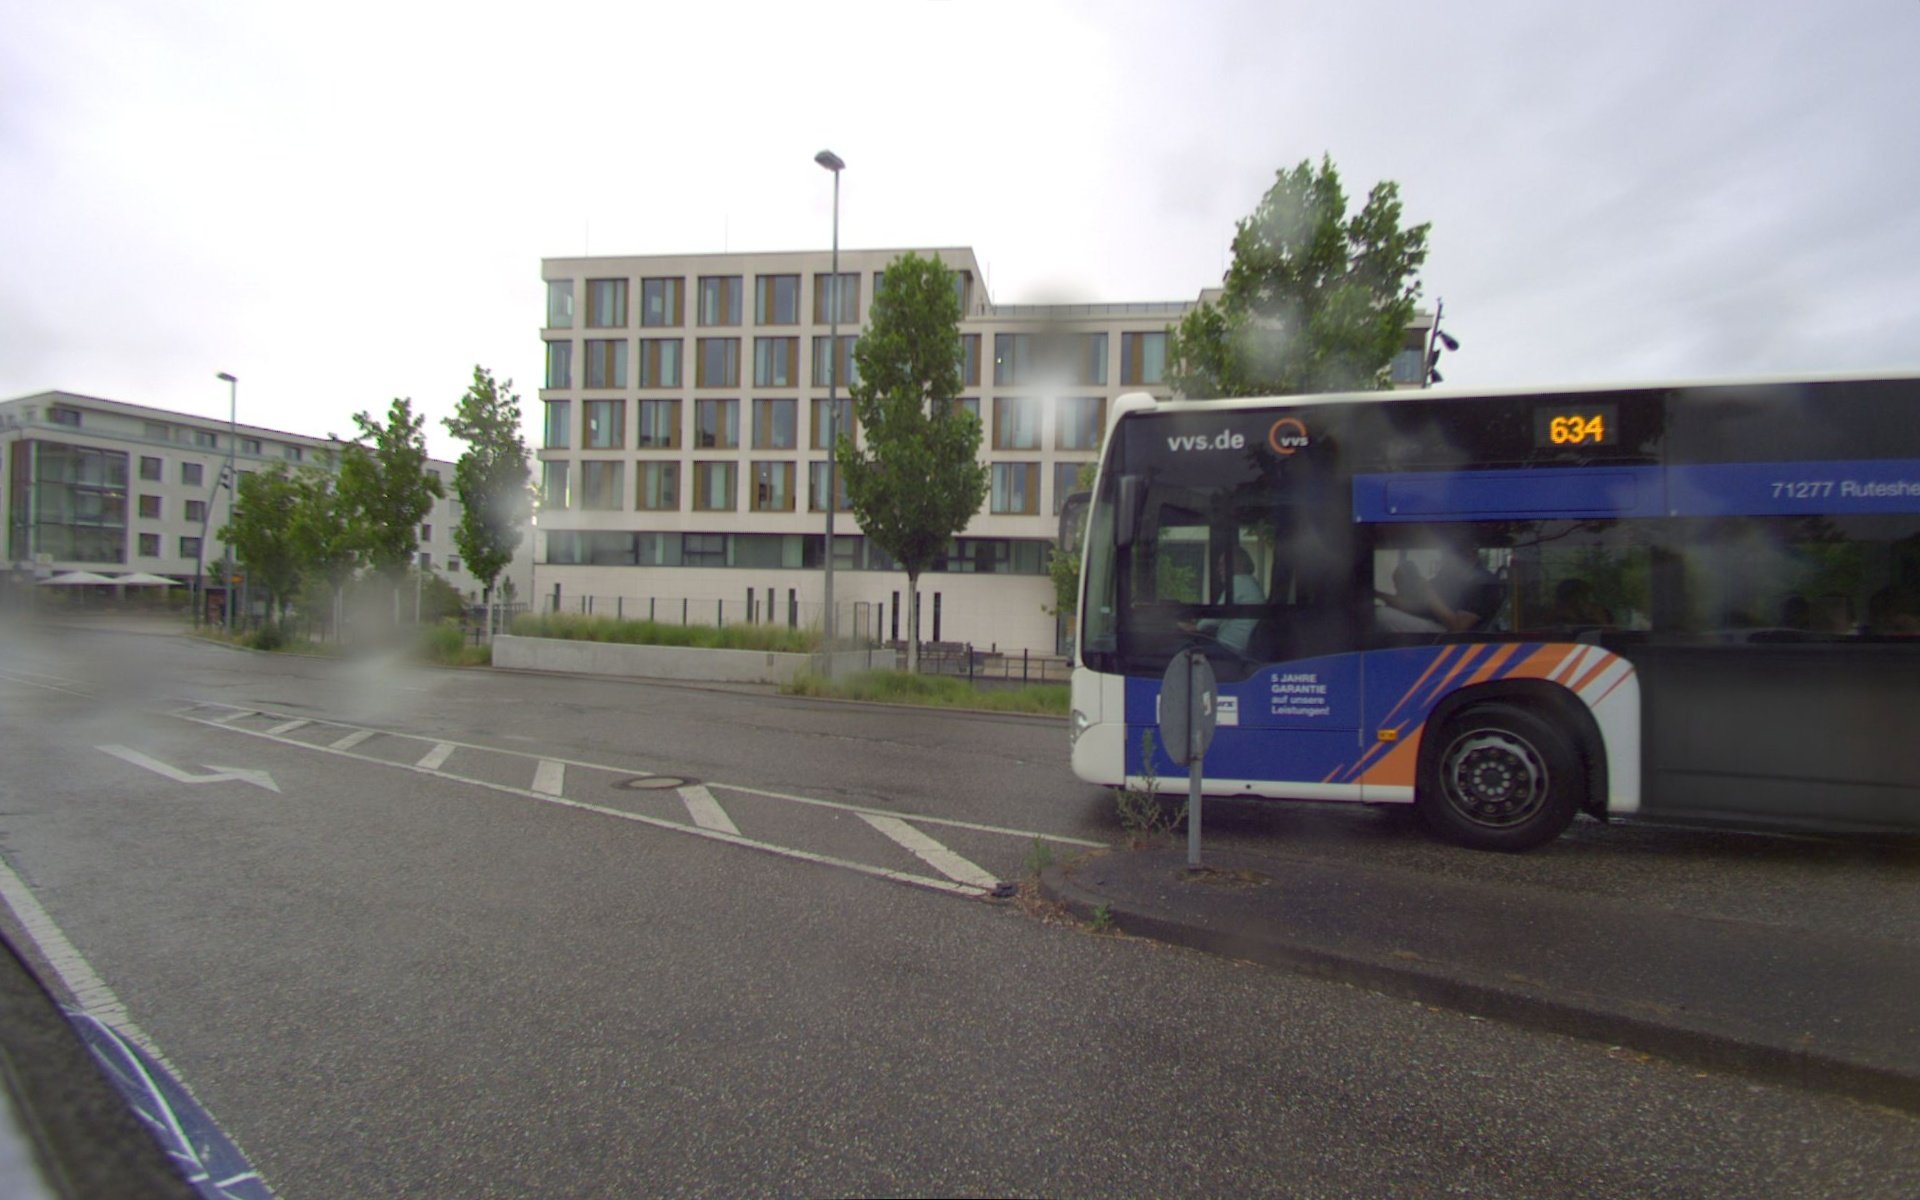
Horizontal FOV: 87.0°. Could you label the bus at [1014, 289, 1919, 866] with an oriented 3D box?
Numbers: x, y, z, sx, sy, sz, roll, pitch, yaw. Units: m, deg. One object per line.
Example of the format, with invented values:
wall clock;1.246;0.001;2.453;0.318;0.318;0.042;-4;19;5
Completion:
bus;4.923;-0.101;6.987;8.792;3.138;2.790;0;-1;12
